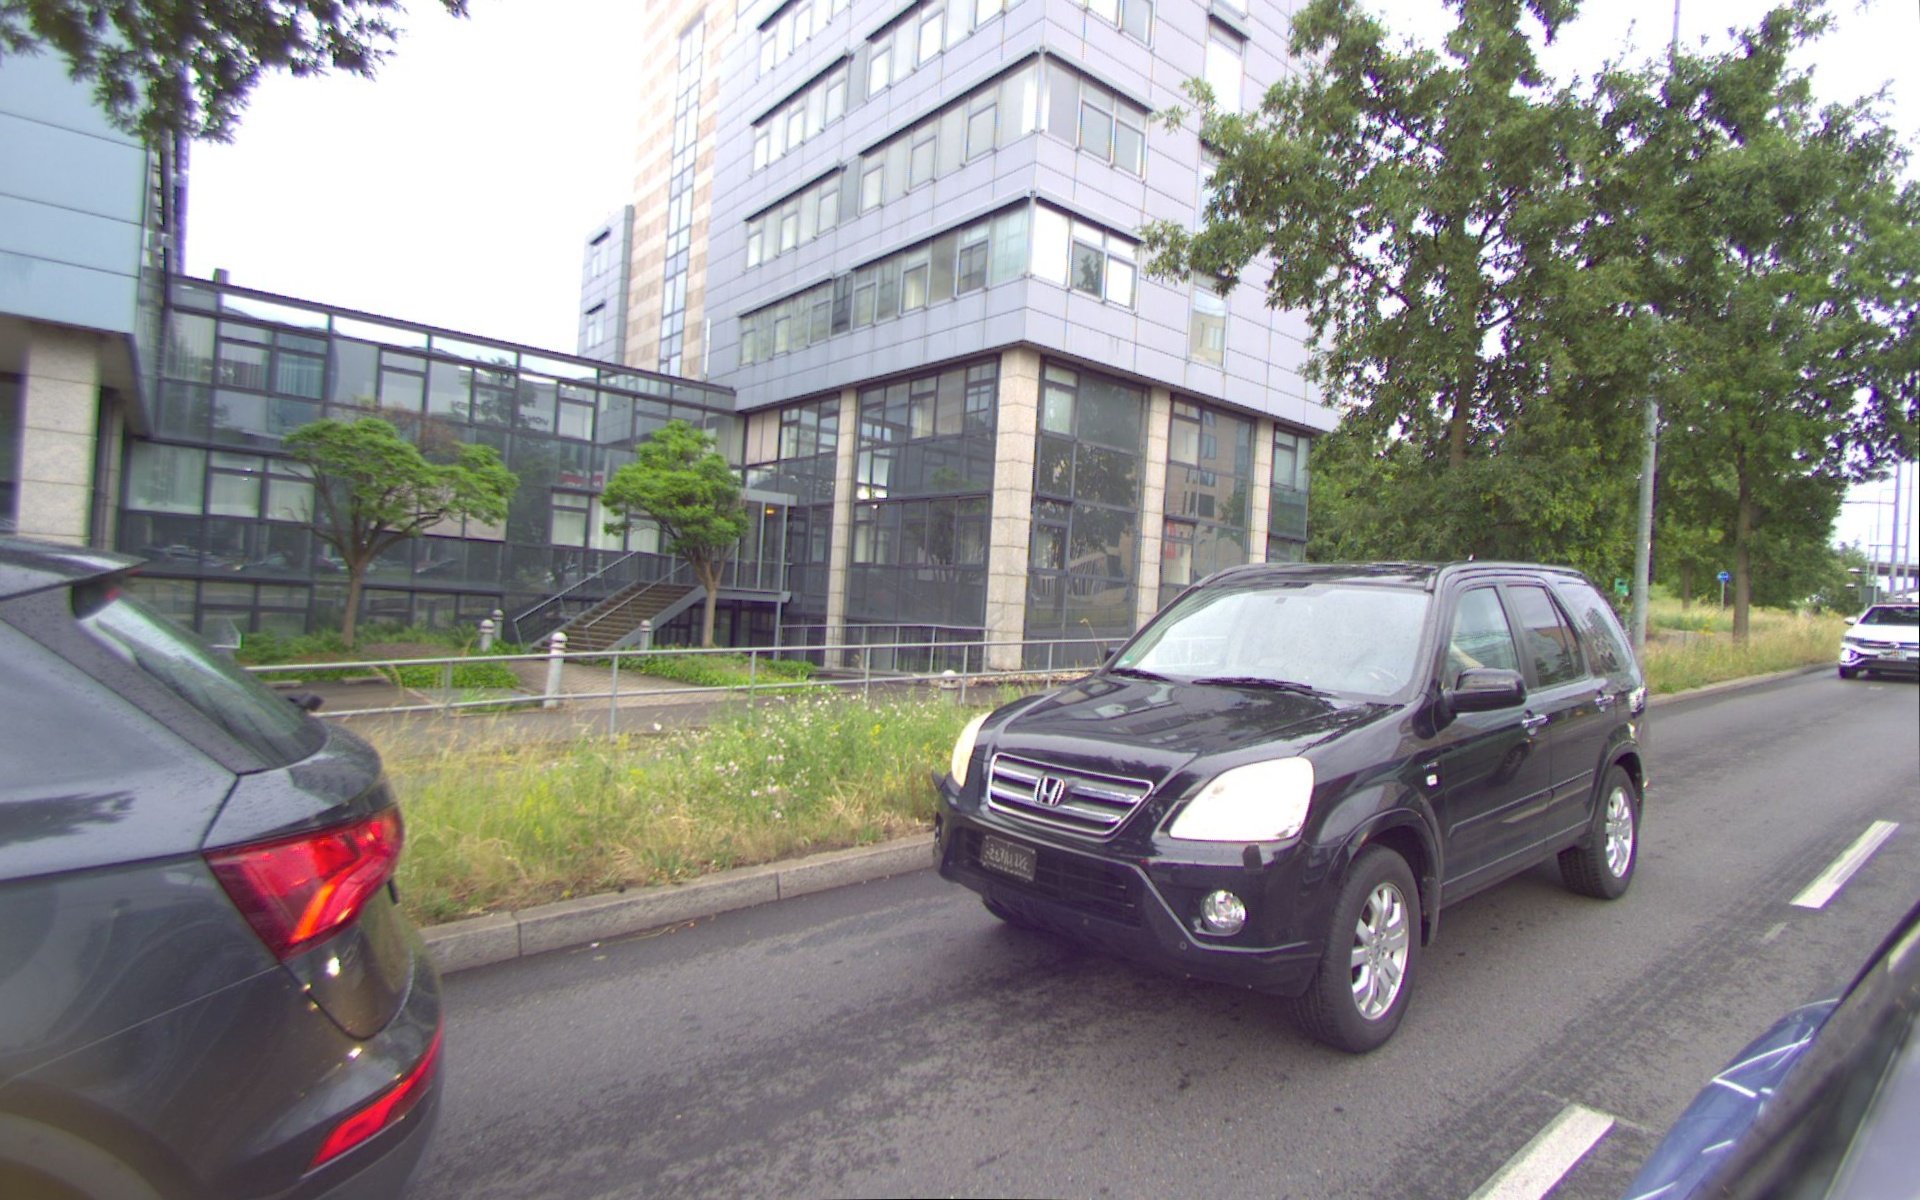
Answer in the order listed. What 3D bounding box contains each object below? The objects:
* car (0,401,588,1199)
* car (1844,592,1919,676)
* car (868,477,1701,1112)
[{"bbox_3d":[-2.903,0.544,1.022,4.392,1.633,1.821,0,1,-41],"label":"car"},{"bbox_3d":[18.933,0.627,19.799,3.698,1.522,1.828,0,1,-39],"label":"car"},{"bbox_3d":[1.817,0.494,4.746,4.262,1.679,1.758,0,1,-41],"label":"car"}]
